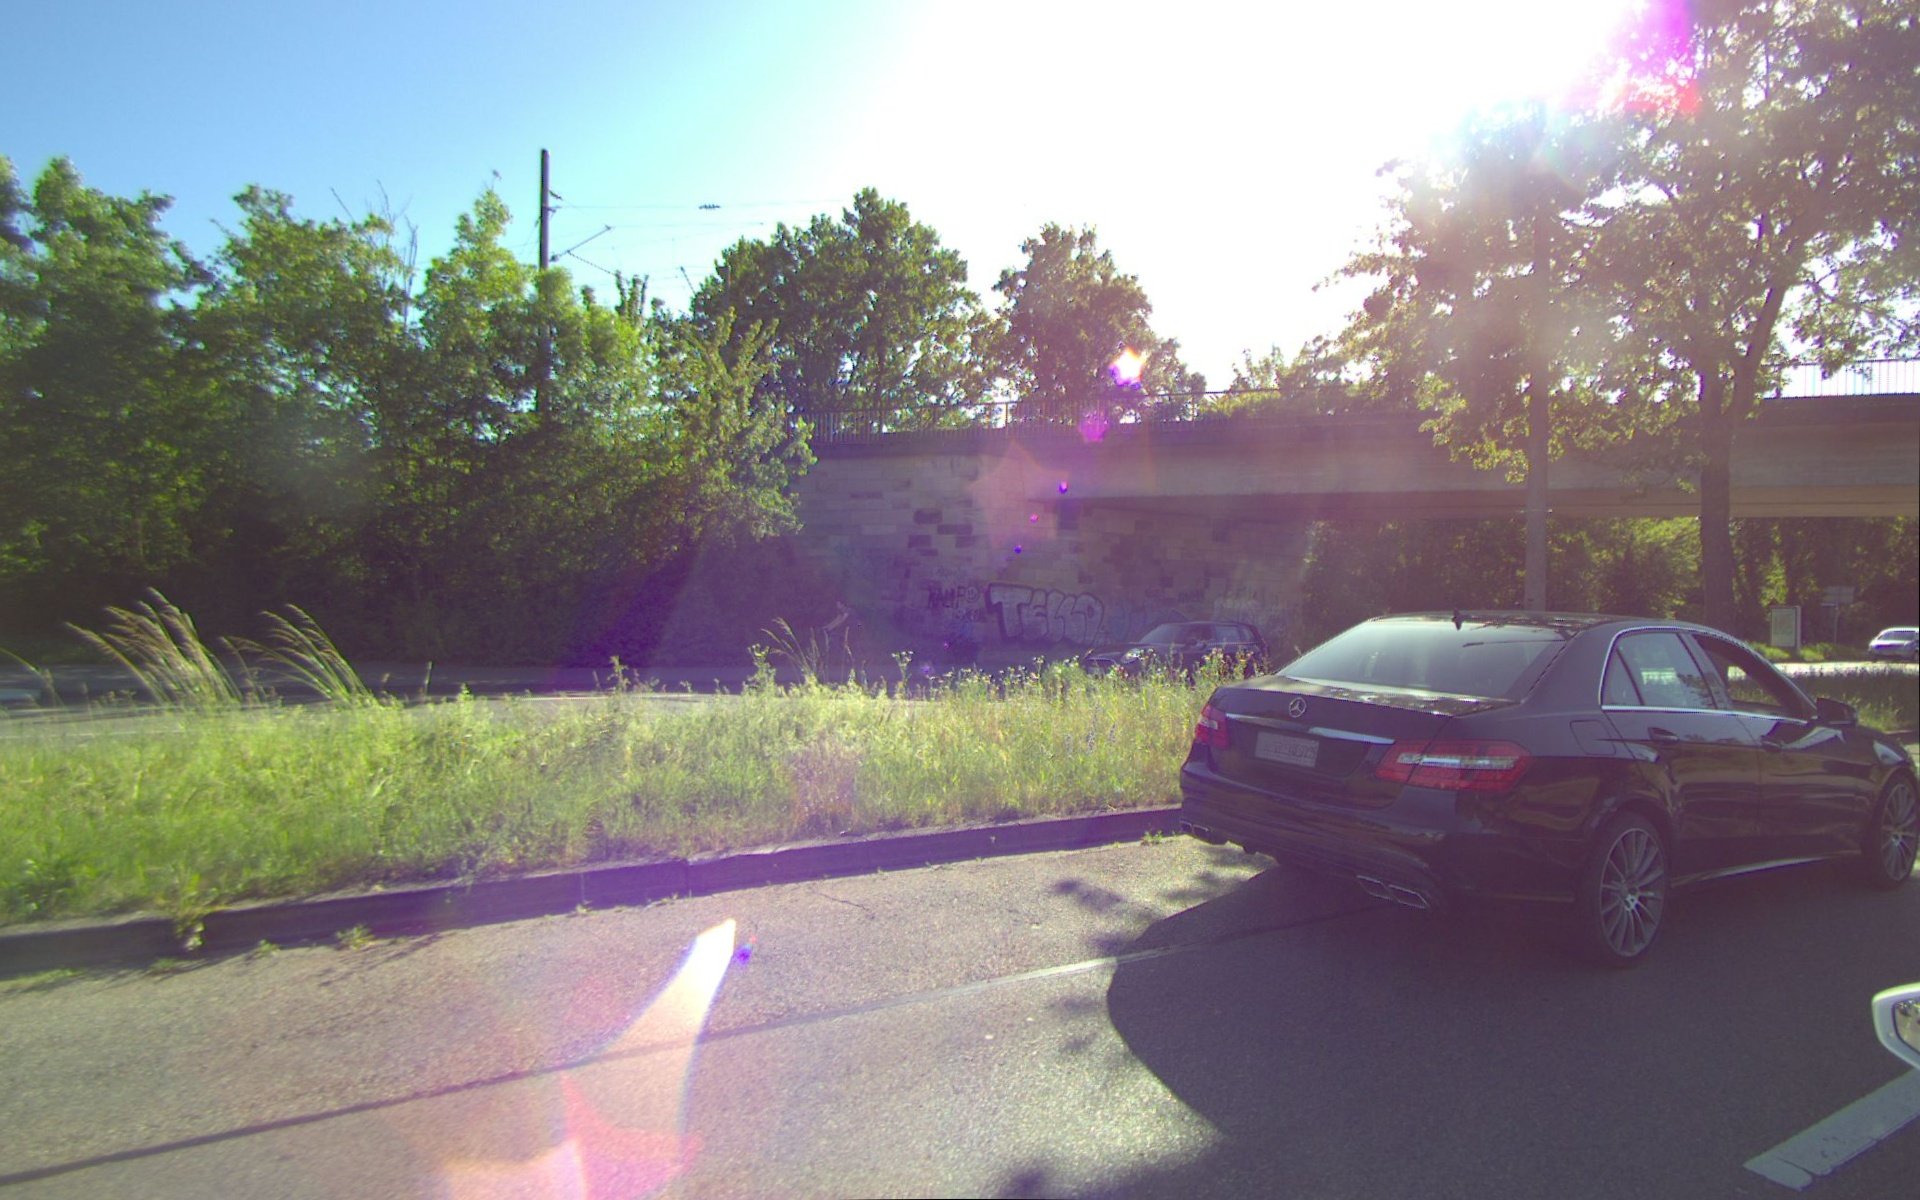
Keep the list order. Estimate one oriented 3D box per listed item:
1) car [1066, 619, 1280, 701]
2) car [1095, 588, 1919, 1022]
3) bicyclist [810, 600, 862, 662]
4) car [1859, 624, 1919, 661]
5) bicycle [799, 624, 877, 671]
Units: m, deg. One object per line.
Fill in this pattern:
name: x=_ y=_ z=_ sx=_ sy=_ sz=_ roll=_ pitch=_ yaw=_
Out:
car: x=4.279 y=1.163 z=20.053 sx=4.042 sy=1.461 sz=1.808 roll=2 pitch=-1 yaw=-30
car: x=3.295 y=0.758 z=5.536 sx=4.859 sy=1.502 sz=1.950 roll=2 pitch=0 yaw=-29
bicyclist: x=-2.944 y=0.741 z=23.894 sx=1.014 sy=1.420 sz=0.677 roll=2 pitch=1 yaw=-30
car: x=44.159 y=1.994 z=47.152 sx=4.130 sy=1.638 sz=1.721 roll=2 pitch=-2 yaw=-30
bicycle: x=-2.907 y=1.127 z=23.925 sx=1.694 sy=1.044 sz=0.680 roll=2 pitch=1 yaw=-30
